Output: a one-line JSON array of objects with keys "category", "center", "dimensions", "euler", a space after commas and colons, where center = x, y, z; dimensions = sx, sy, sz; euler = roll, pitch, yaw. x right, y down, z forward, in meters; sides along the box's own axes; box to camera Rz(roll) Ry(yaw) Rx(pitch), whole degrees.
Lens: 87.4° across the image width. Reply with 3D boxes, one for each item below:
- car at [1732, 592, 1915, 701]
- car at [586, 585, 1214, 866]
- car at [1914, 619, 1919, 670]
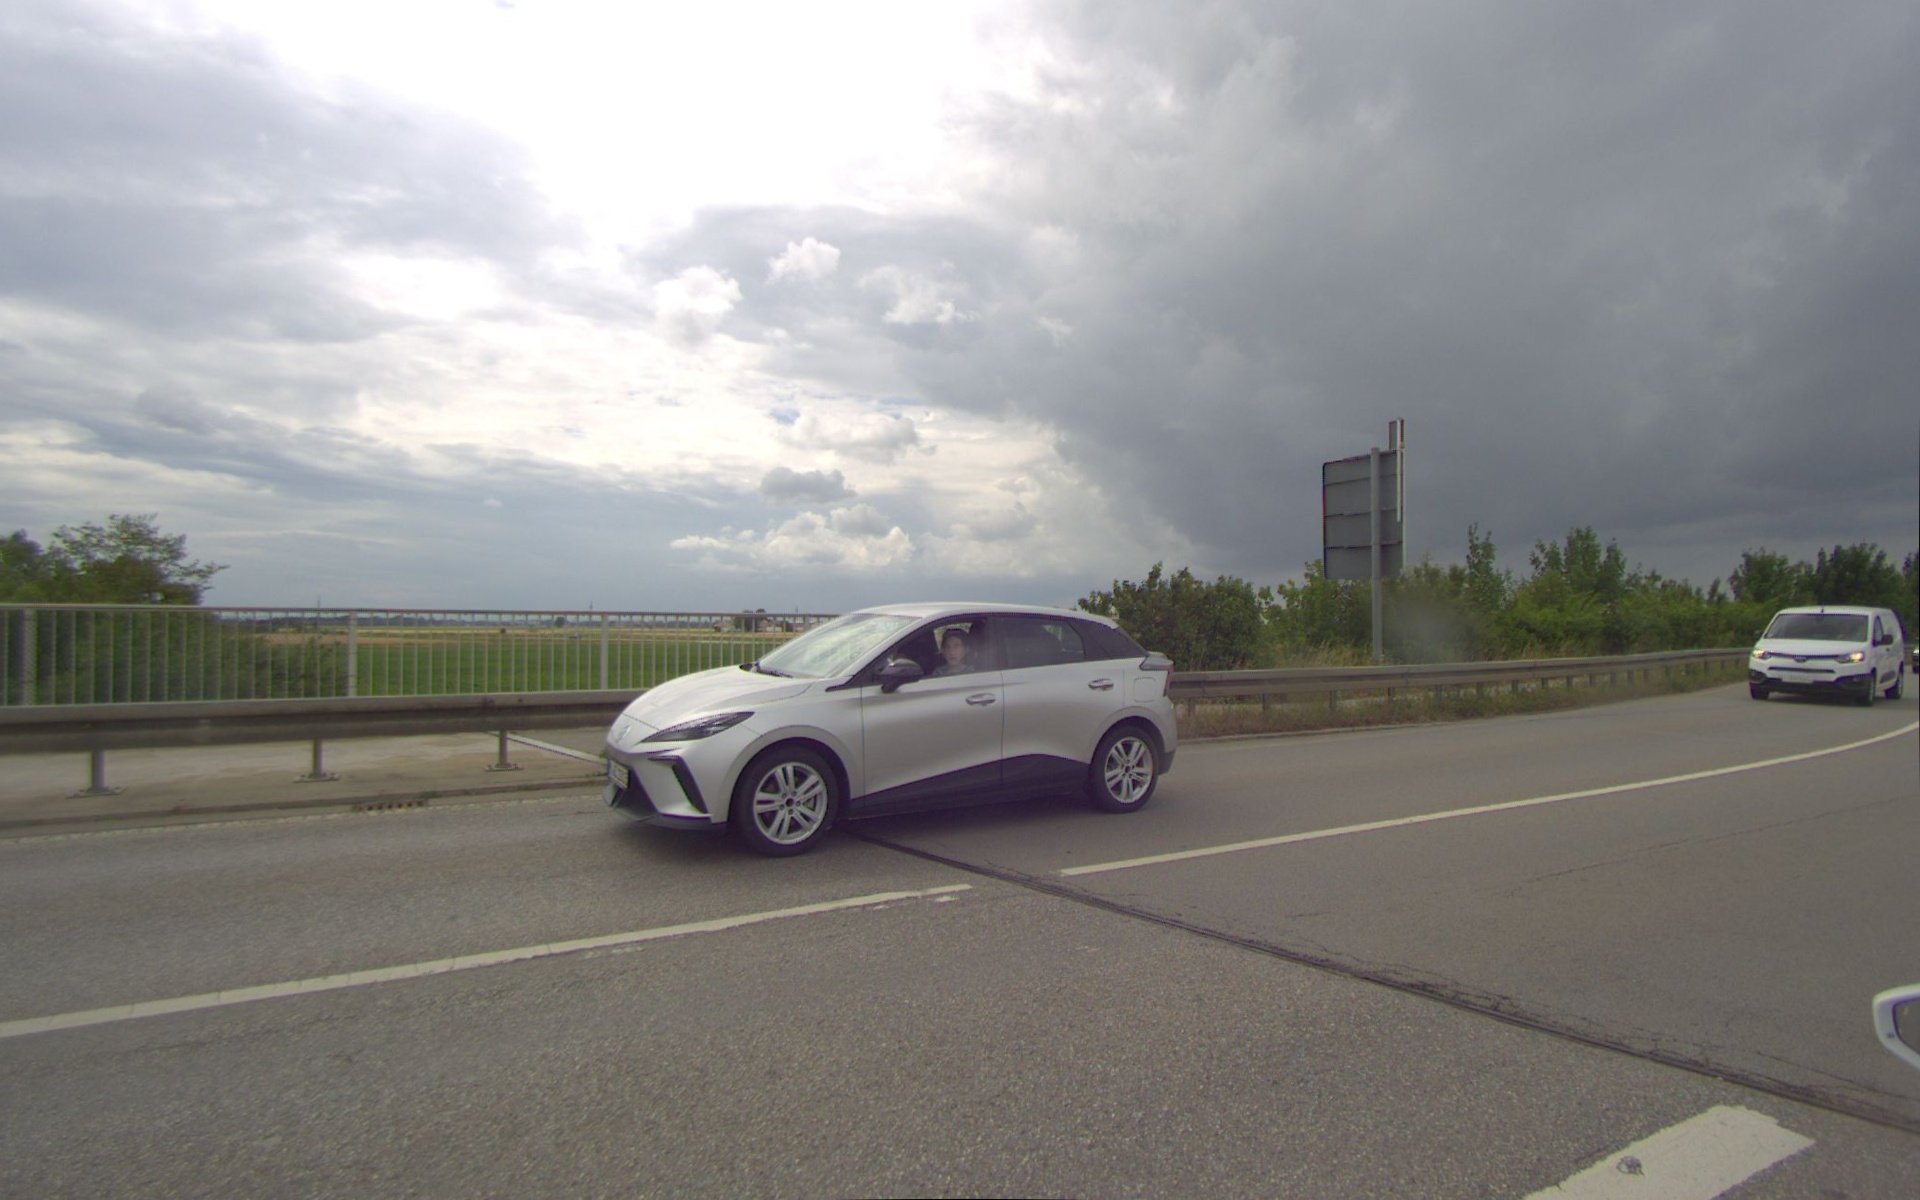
[{"category": "car", "center": [17.092, 0.862, 19.803], "dimensions": [4.780, 1.899, 1.937], "euler": [2, 0, -39]}, {"category": "car", "center": [-0.300, 0.719, 7.244], "dimensions": [4.233, 1.506, 1.702], "euler": [2, 0, -33]}, {"category": "car", "center": [31.873, 1.439, 32.122], "dimensions": [4.113, 1.578, 1.569], "euler": [2, 0, -41]}]
